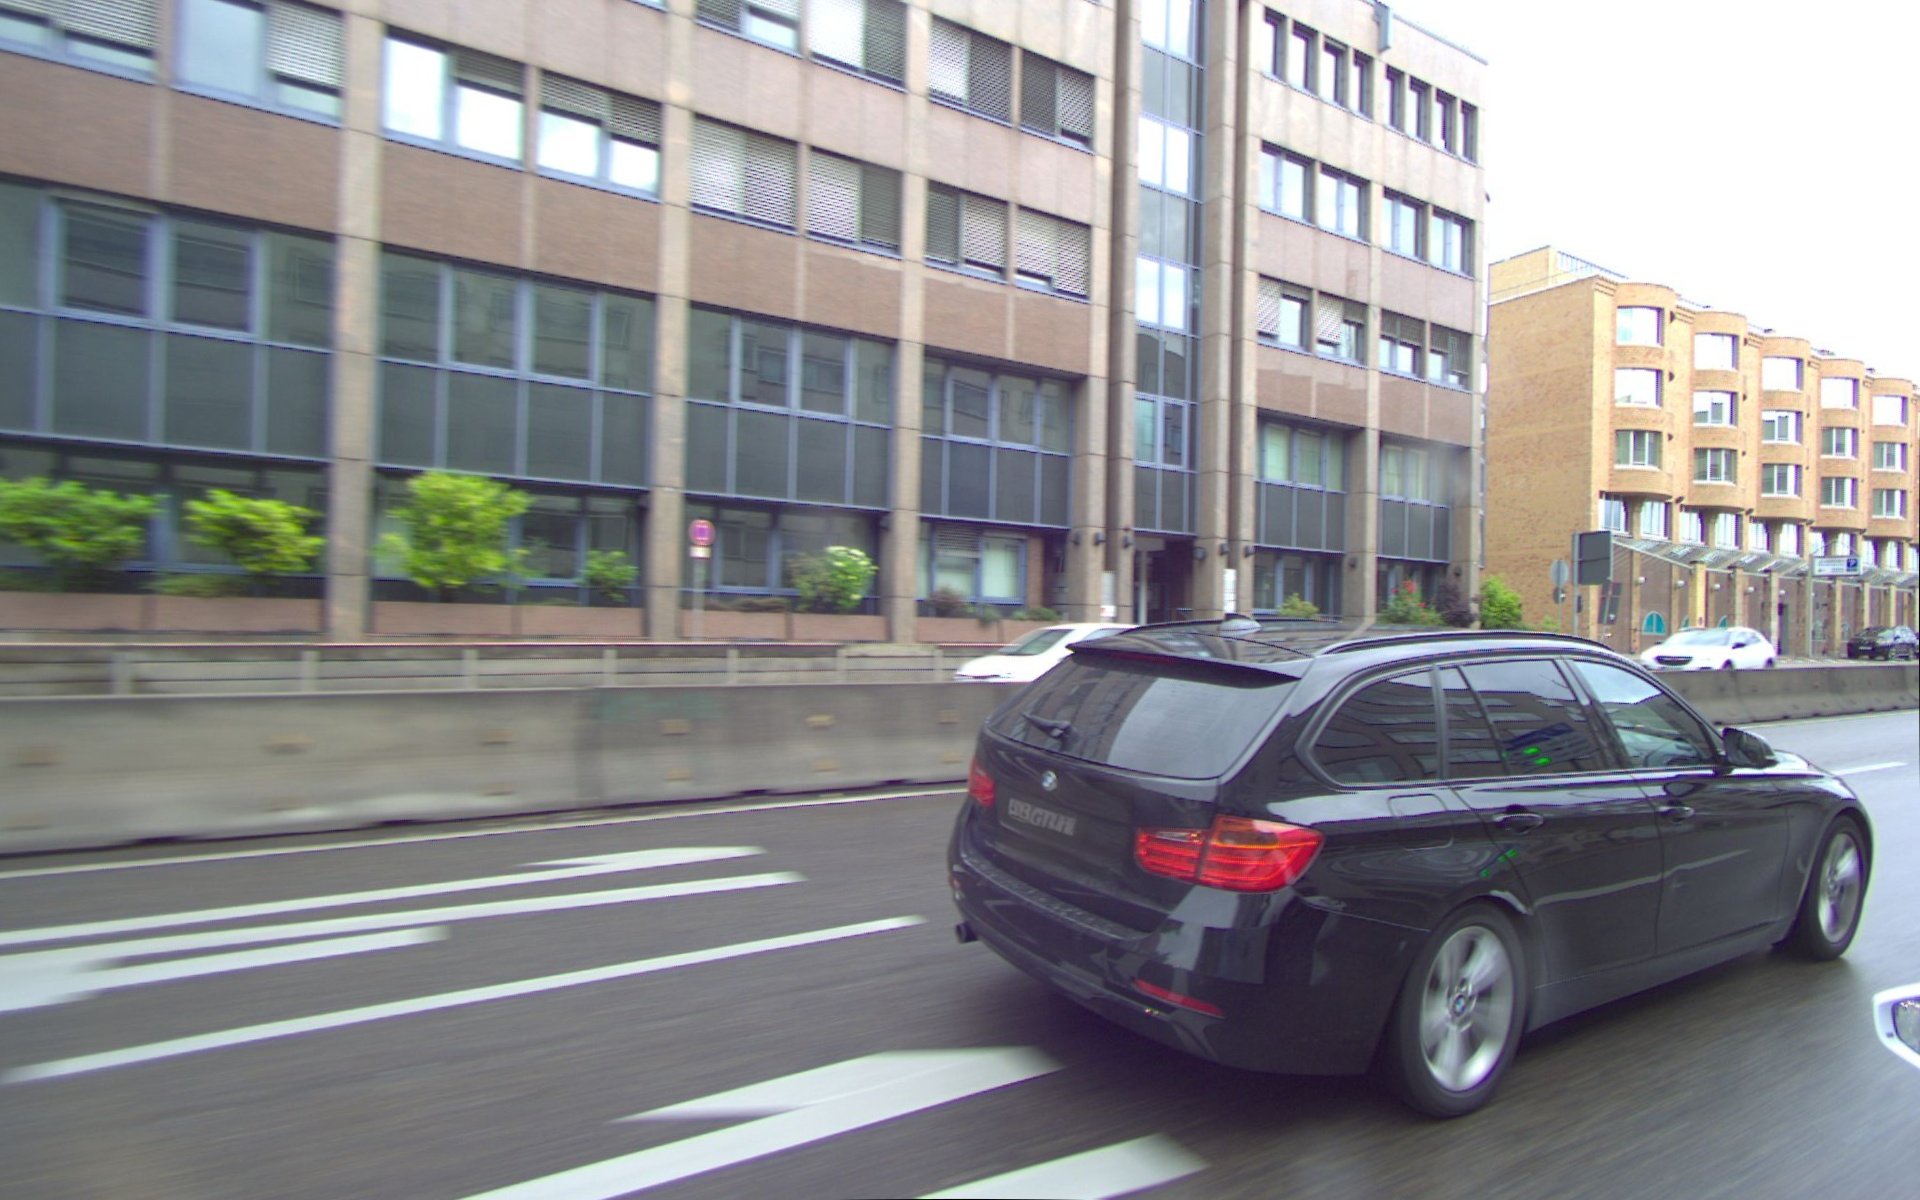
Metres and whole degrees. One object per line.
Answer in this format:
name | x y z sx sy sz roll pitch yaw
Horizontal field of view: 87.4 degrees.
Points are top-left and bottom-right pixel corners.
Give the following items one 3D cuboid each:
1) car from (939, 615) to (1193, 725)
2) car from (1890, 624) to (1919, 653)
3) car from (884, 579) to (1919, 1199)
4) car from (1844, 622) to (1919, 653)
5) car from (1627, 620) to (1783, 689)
car | 1.646 0.985 15.347 3.614 1.462 1.595 0 -1 -30
car | 57.292 2.285 59.589 4.267 1.641 1.984 2 -2 -30
car | 2.119 0.729 4.280 4.560 1.445 1.782 2 -1 -31
car | 51.231 2.098 55.654 4.706 1.641 1.984 2 -2 -30
car | 19.739 1.383 26.581 4.141 1.640 1.812 0 -1 -30
